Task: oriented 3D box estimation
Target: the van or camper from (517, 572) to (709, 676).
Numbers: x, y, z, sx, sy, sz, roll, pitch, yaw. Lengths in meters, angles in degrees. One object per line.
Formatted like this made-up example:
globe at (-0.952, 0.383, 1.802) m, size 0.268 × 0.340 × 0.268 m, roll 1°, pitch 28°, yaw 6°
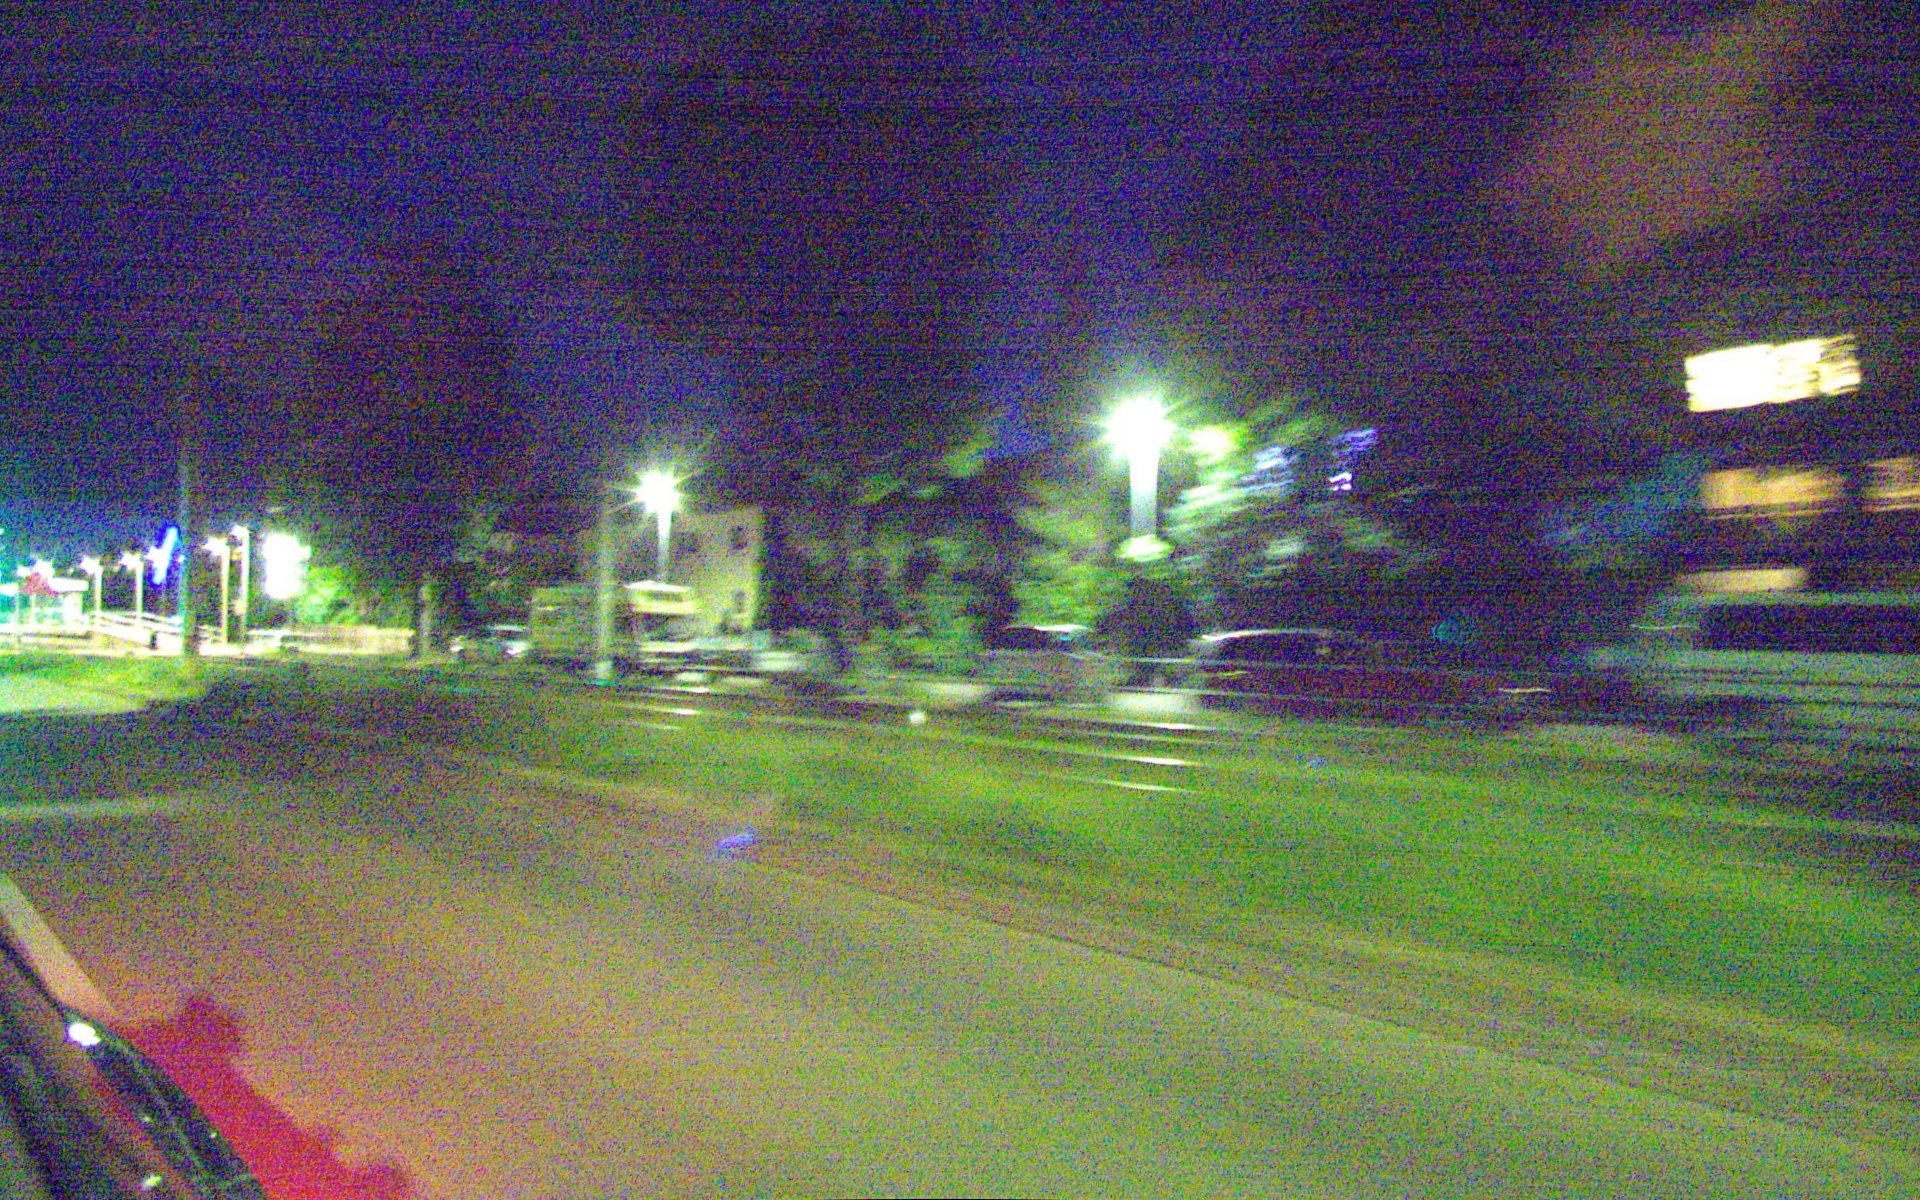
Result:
van or camper at (-9.847, 0.722, 28.495) m, size 5.654 × 2.668 × 2.251 m, roll -1°, pitch -4°, yaw 37°

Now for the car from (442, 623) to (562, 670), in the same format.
car at (-14.773, 1.465, 32.523) m, size 4.539 × 1.350 × 1.629 m, roll -1°, pitch -6°, yaw 40°

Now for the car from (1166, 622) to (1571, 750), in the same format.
car at (5.748, 1.097, 14.779) m, size 5.172 × 1.534 × 1.881 m, roll -1°, pitch -2°, yaw 44°

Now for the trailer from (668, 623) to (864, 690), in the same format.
trailer at (-4.720, 1.327, 24.258) m, size 2.391 × 1.385 × 4.658 m, roll 7°, pitch -6°, yaw -44°

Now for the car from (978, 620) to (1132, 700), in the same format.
car at (1.810, 1.051, 18.644) m, size 1.531 × 1.336 × 3.001 m, roll -1°, pitch -2°, yaw 36°

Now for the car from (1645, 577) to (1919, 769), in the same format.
car at (10.264, 0.744, 10.715) m, size 4.874 × 1.919 × 1.839 m, roll -1°, pitch -2°, yaw 39°
